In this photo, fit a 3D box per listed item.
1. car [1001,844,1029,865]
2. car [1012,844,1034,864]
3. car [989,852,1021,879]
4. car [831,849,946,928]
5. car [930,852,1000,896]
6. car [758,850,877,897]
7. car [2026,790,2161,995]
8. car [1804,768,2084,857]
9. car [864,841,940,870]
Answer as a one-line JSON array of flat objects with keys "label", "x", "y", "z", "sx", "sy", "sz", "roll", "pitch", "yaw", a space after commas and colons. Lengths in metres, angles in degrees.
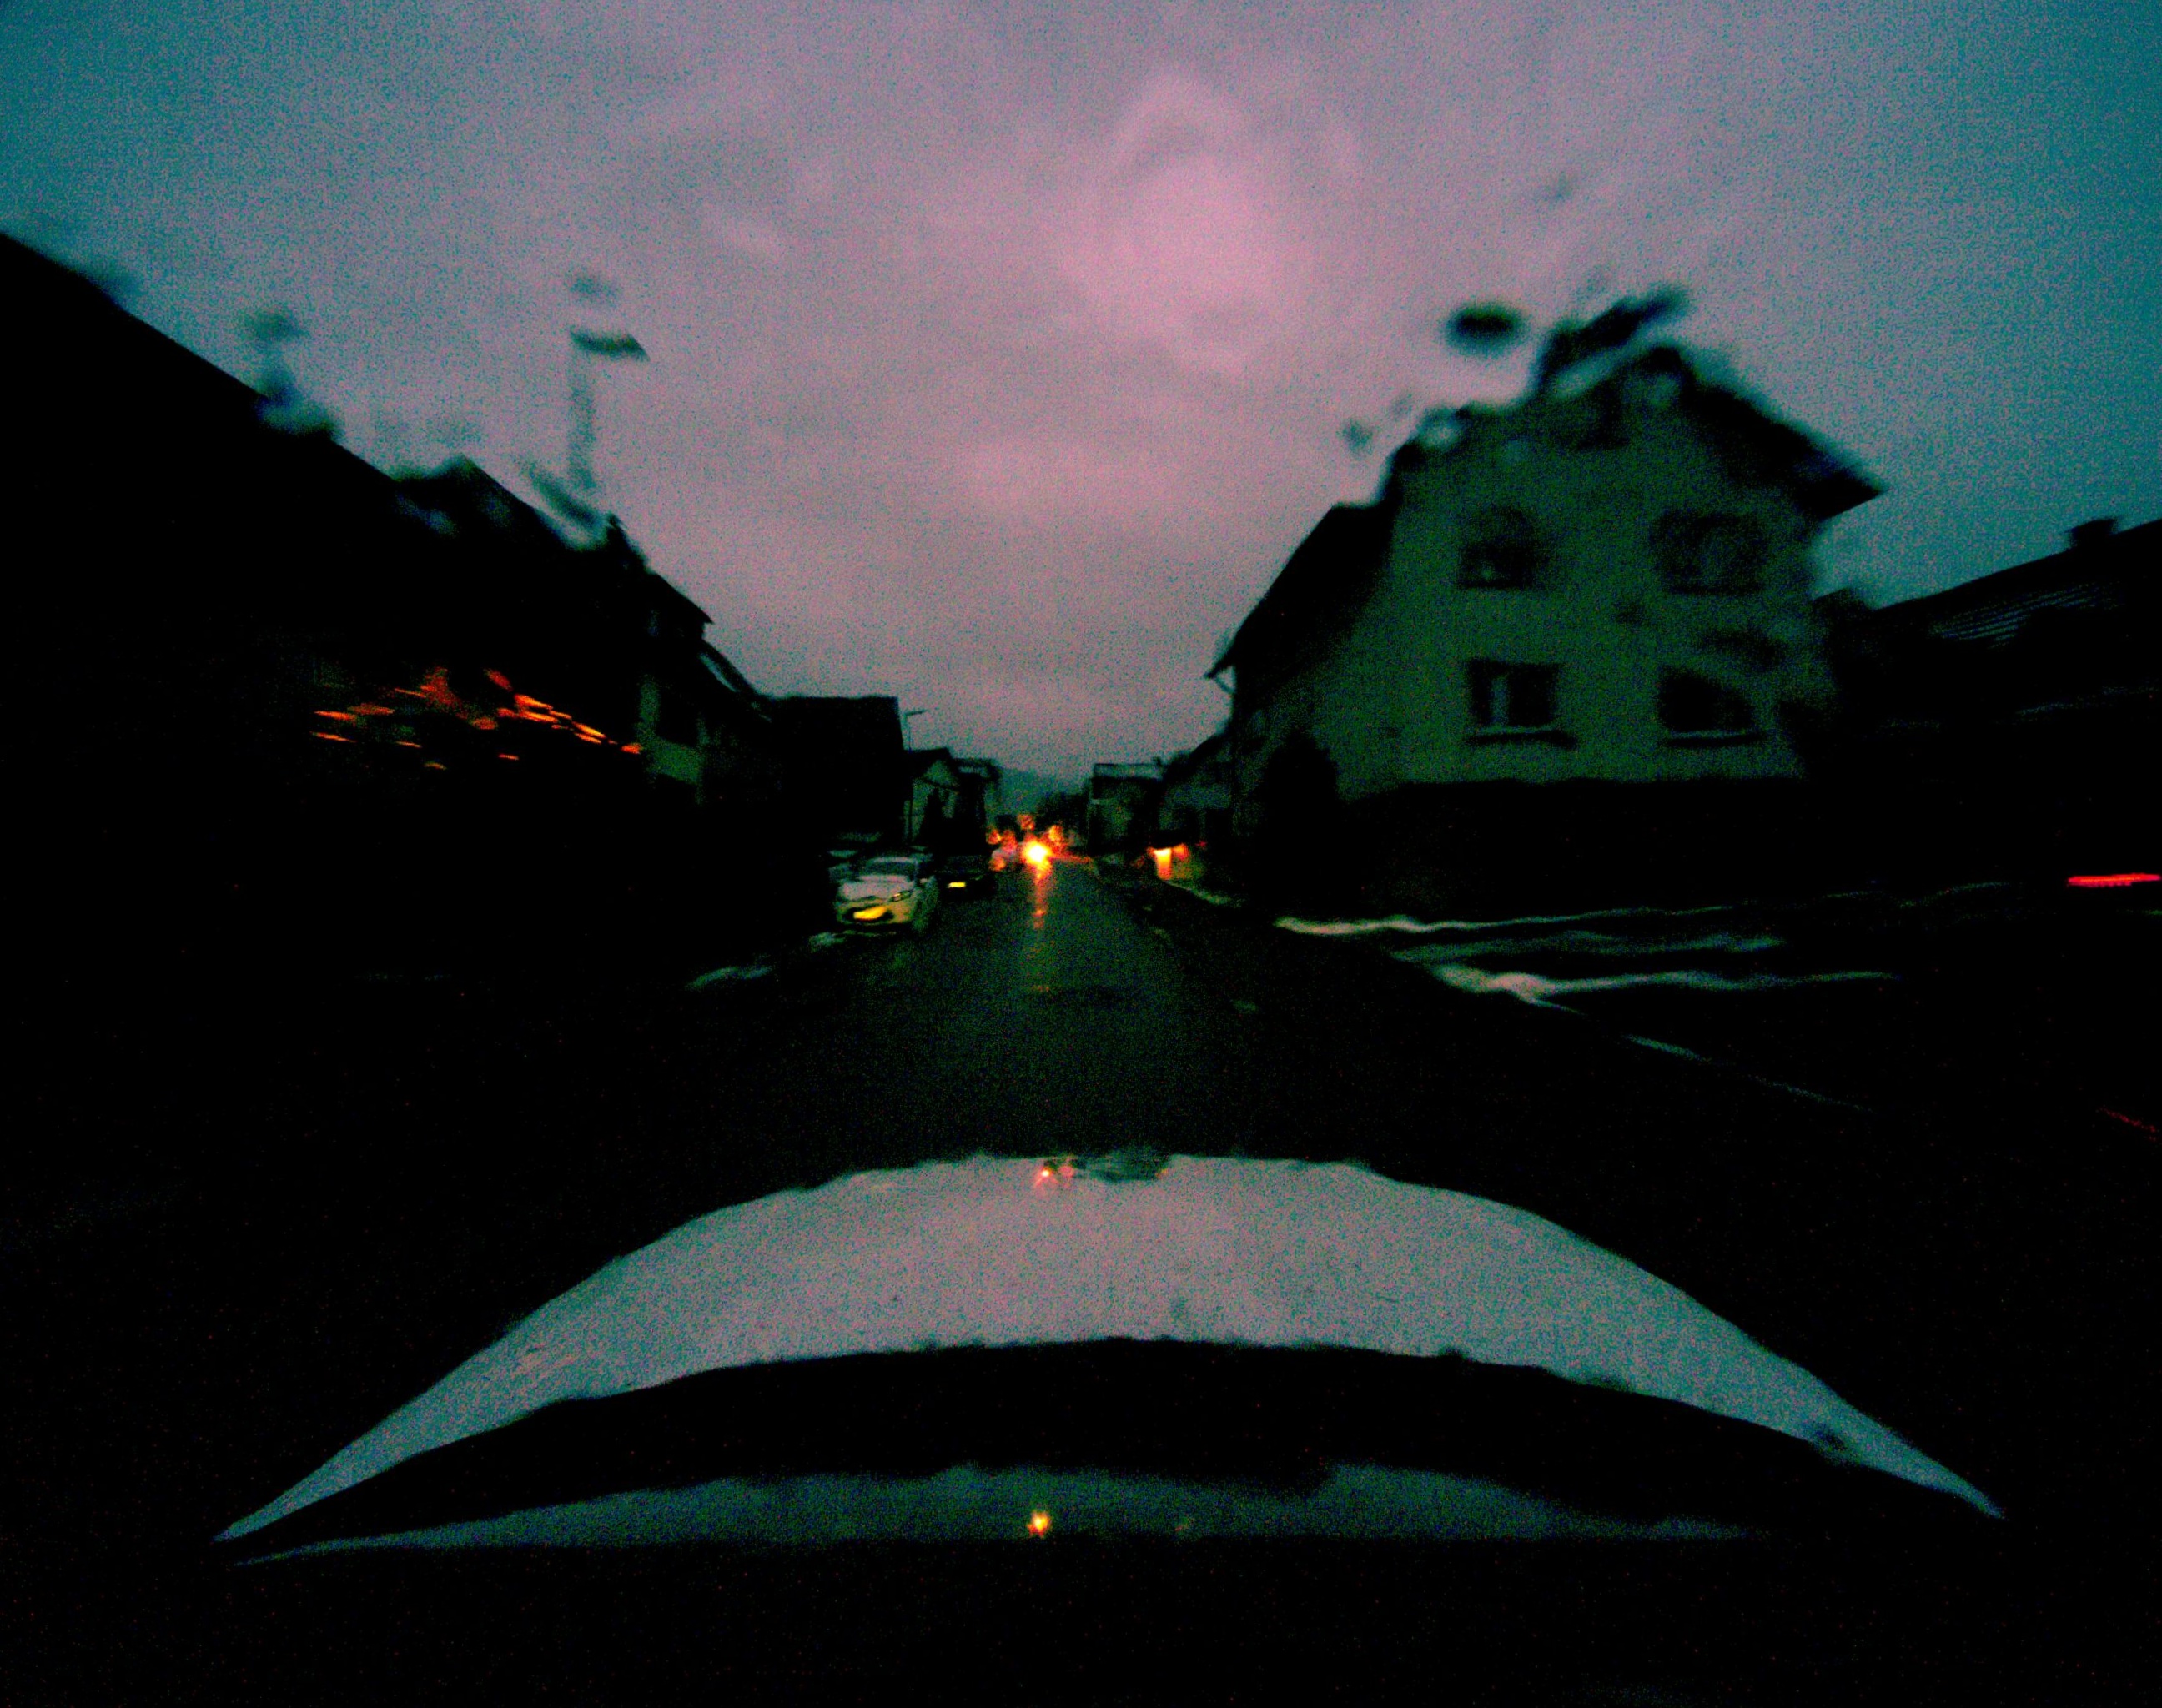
[{"label": "car", "x": -5.184, "y": 0.012, "z": 64.601, "sx": 1.788, "sy": 1.503, "sz": 4.309, "roll": -3, "pitch": 1, "yaw": 0}, {"label": "car", "x": -5.537, "y": -0.019, "z": 78.047, "sx": 1.821, "sy": 1.835, "sz": 4.343, "roll": -3, "pitch": 1, "yaw": -1}, {"label": "car", "x": -4.827, "y": 0.697, "z": 52.303, "sx": 1.679, "sy": 1.584, "sz": 4.173, "roll": -2, "pitch": 0, "yaw": -1}, {"label": "car", "x": -3.972, "y": 0.737, "z": 17.363, "sx": 1.614, "sy": 1.439, "sz": 3.653, "roll": -2, "pitch": -3, "yaw": -1}, {"label": "car", "x": -4.091, "y": 0.661, "z": 29.483, "sx": 1.872, "sy": 1.394, "sz": 5.072, "roll": -2, "pitch": 0, "yaw": -1}, {"label": "car", "x": -8.970, "y": 0.648, "z": 27.922, "sx": 3.450, "sy": 1.528, "sz": 1.774, "roll": -1, "pitch": 0, "yaw": 2}, {"label": "car", "x": 10.528, "y": 0.306, "z": 6.317, "sx": 3.969, "sy": 1.618, "sz": 2.002, "roll": 0, "pitch": 0, "yaw": 4}, {"label": "car", "x": 19.168, "y": -0.827, "z": 18.397, "sx": 1.989, "sy": 1.772, "sz": 3.995, "roll": 0, "pitch": -1, "yaw": -3}, {"label": "car", "x": -10.472, "y": 0.084, "z": 47.735, "sx": 3.971, "sy": 1.618, "sz": 1.890, "roll": -1, "pitch": 0, "yaw": 2}]
